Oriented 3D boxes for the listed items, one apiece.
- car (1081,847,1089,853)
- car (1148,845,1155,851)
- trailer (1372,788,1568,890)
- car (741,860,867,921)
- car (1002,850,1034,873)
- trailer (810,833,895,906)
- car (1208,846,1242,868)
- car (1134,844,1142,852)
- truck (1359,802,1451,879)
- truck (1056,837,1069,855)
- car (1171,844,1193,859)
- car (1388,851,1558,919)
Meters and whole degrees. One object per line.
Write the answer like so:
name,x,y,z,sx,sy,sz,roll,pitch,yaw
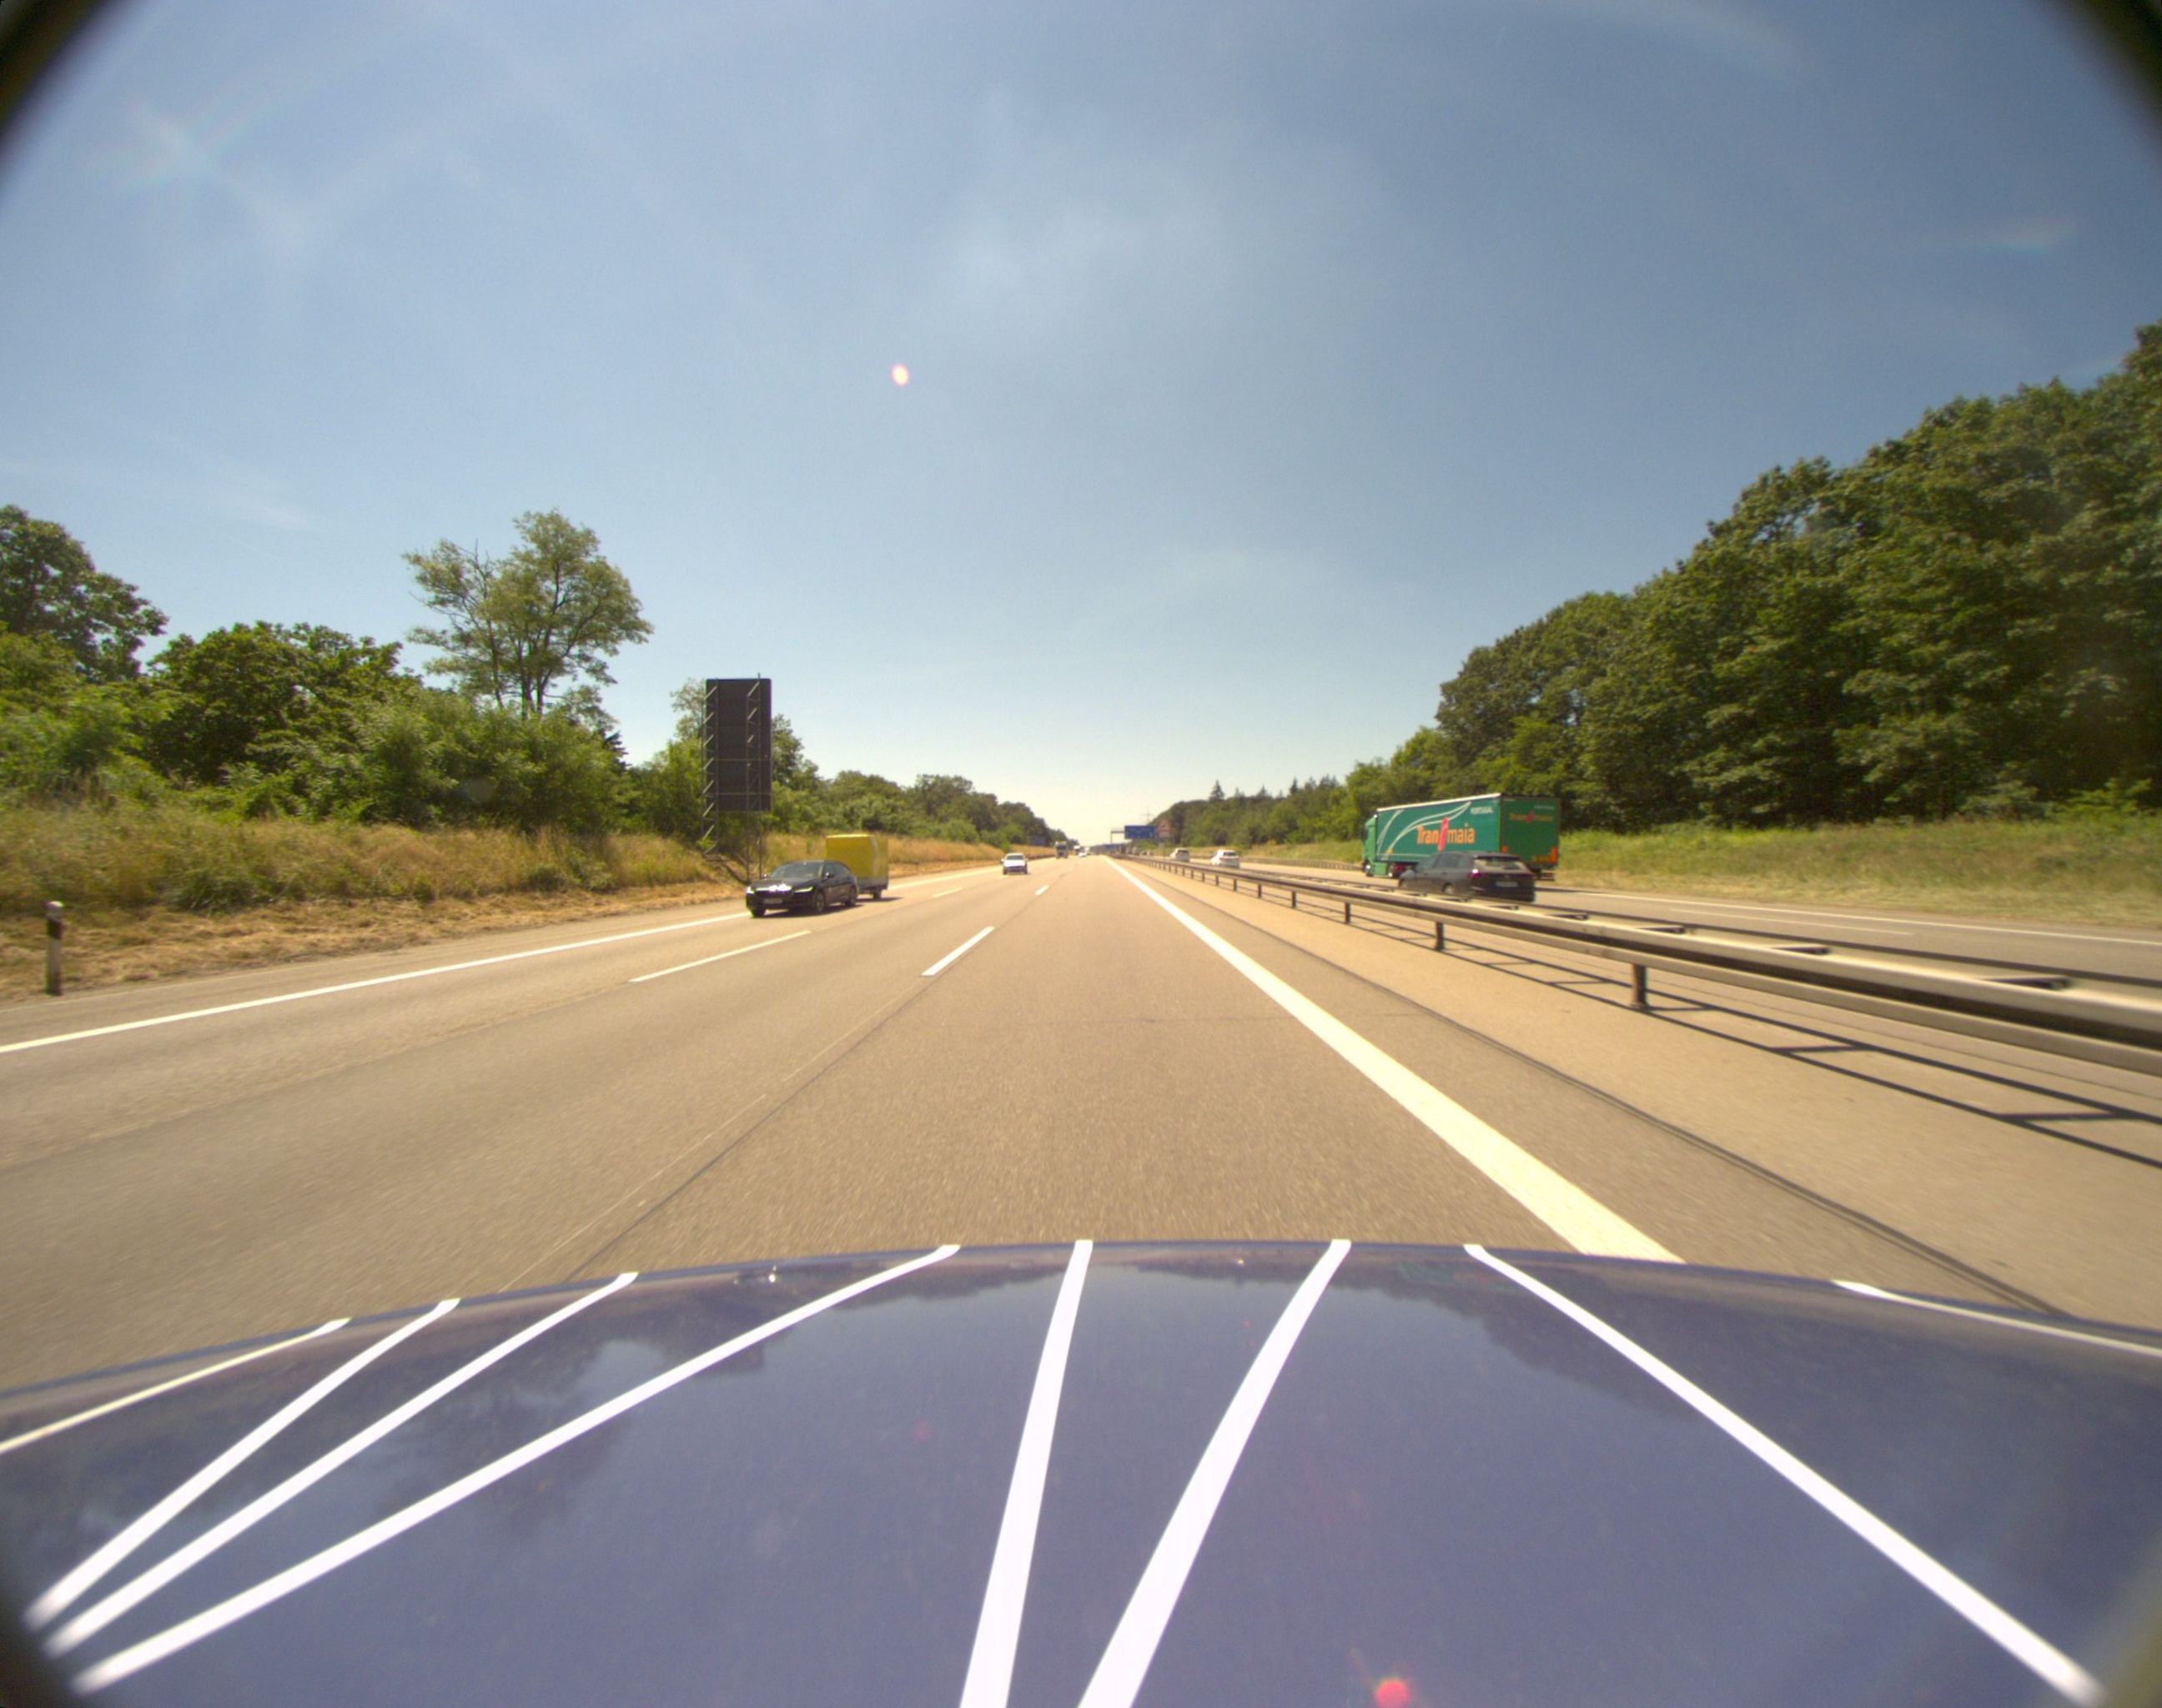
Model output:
car,1.011,-1.018,194.611,1.796,1.412,3.999,-2,1,0
car,23.091,-1.963,248.099,1.706,1.651,5.116,2,0,1
trailer,18.790,-0.697,38.524,2.711,4.137,14.337,2,1,1
car,-7.790,0.954,21.915,1.826,1.447,4.787,-2,1,0
car,-4.439,0.515,54.028,1.749,1.457,3.980,-2,1,2
trailer,-7.781,0.482,26.254,1.707,2.276,3.839,-2,1,0
car,10.744,0.199,56.995,1.659,1.492,4.600,2,1,1
car,18.978,-2.081,252.765,2.170,2.609,7.543,2,0,1
truck,18.922,-0.775,44.840,2.707,4.137,6.296,2,1,1
truck,-4.095,-1.808,170.633,2.605,3.811,5.969,-2,0,1
car,12.117,-0.317,91.685,1.959,1.782,5.562,2,0,1
car,9.639,0.667,19.245,1.713,1.402,5.083,2,1,1
